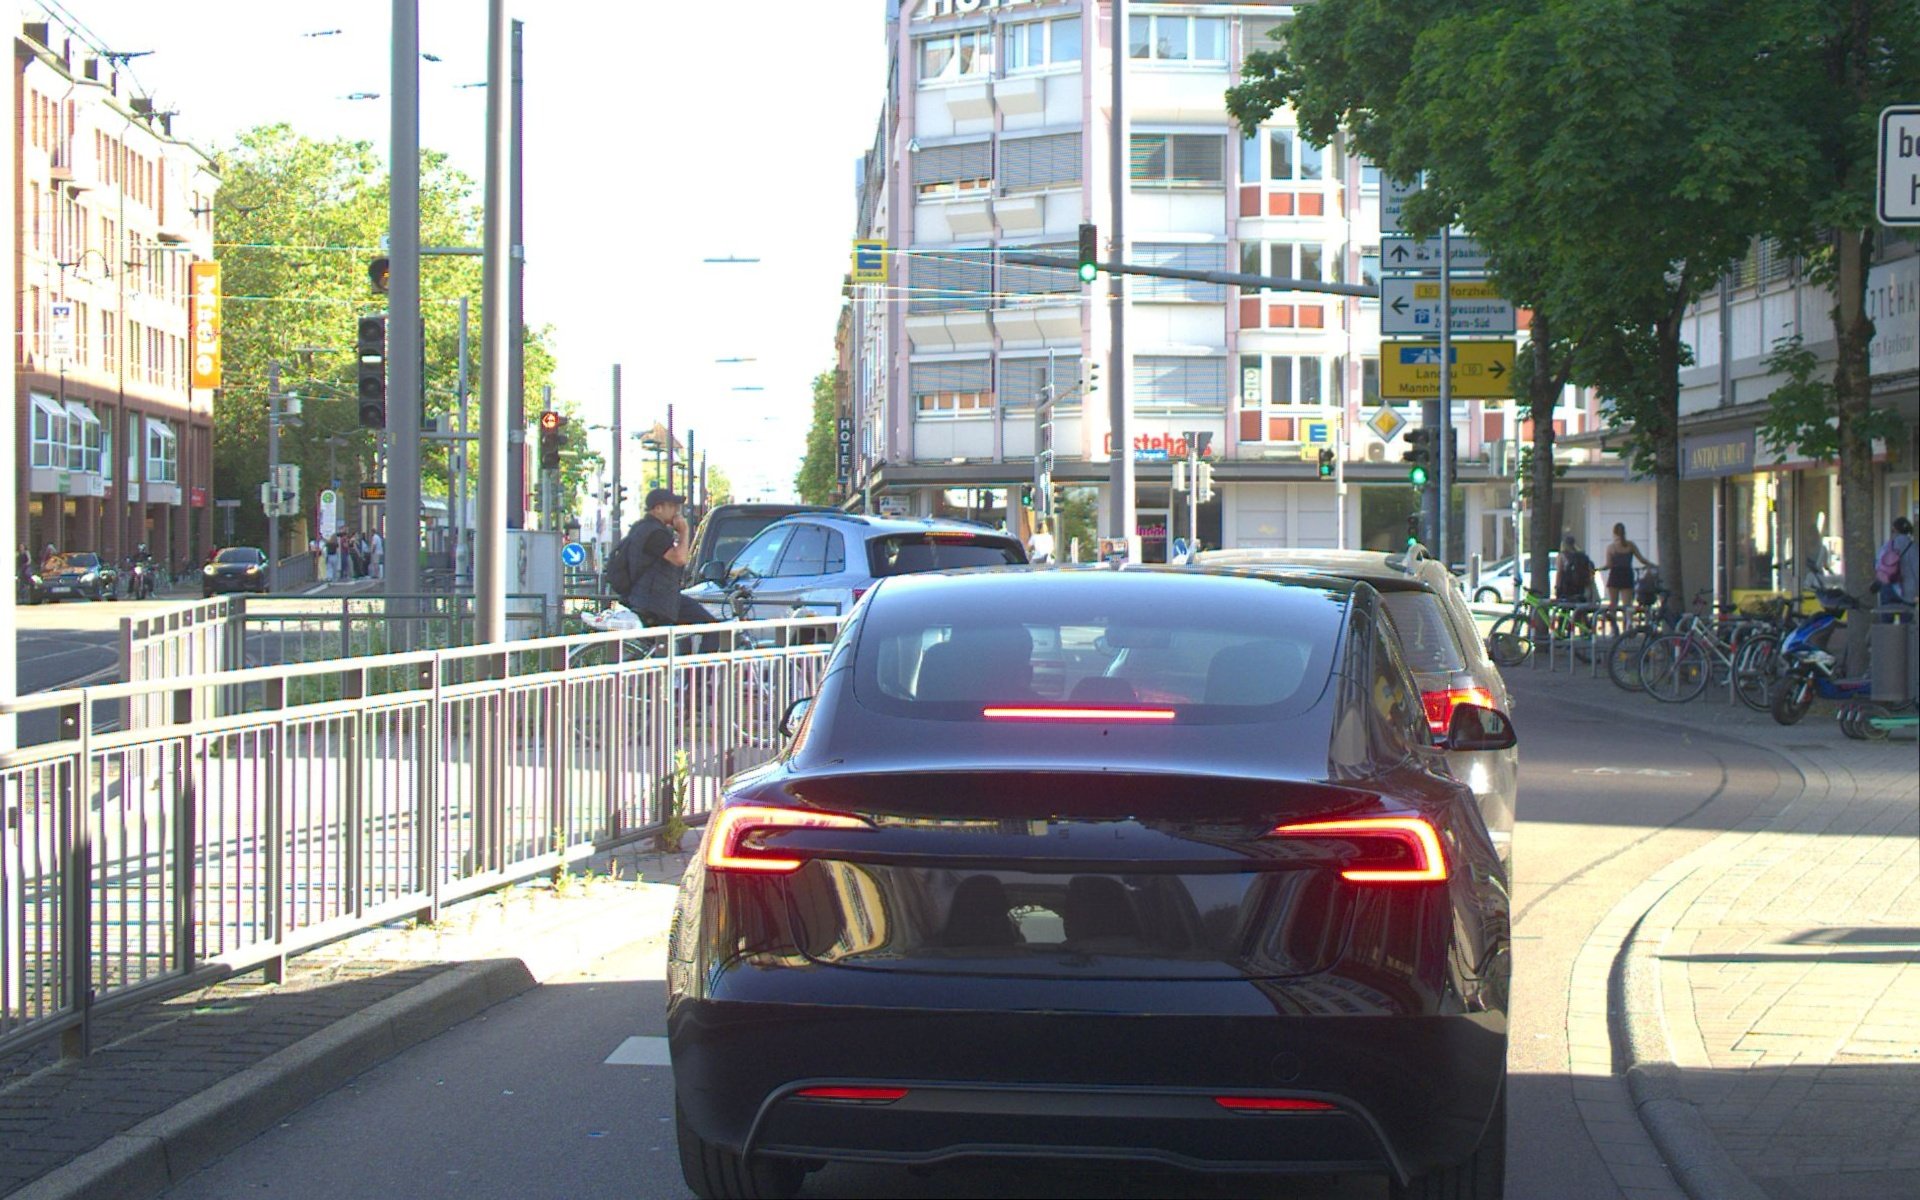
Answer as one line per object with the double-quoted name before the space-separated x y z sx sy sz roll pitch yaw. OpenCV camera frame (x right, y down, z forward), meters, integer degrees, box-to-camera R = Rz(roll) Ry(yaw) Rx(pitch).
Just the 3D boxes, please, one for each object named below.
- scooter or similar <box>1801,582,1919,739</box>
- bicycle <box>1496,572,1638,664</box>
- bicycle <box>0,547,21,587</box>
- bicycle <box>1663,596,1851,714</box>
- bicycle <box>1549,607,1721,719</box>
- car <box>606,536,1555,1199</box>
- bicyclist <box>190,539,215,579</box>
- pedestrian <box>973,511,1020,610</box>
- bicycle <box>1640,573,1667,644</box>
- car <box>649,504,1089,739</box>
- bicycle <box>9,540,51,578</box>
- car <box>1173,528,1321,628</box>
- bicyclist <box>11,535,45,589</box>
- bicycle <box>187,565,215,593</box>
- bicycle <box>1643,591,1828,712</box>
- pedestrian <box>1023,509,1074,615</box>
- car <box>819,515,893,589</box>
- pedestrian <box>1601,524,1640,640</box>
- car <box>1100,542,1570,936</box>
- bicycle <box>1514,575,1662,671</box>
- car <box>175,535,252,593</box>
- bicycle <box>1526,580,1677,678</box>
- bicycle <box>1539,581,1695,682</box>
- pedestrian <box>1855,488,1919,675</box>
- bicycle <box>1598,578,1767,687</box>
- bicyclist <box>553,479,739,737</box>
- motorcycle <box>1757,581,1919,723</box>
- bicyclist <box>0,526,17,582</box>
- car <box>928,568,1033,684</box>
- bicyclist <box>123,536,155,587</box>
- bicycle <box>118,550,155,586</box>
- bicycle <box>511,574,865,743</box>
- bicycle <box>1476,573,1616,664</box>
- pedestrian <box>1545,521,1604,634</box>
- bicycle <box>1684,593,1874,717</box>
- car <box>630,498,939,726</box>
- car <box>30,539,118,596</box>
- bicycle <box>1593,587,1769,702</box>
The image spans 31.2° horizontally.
"scooter or similar" 7.557 0.474 27.175 1.644 1.211 0.644 1 0 30
"bicycle" 7.301 0.213 41.372 1.650 1.095 0.350 0 1 1
"bicycle" -26.785 -0.919 95.812 0.529 1.085 2.284 2 0 1
"bicycle" 7.287 0.506 31.435 1.649 1.057 0.350 1 0 -10
"bicycle" 6.723 0.628 34.257 1.649 1.095 0.350 1 0 -10
"car" 0.377 0.594 8.683 1.829 1.450 3.999 1 1 4
"bicyclist" -29.542 -1.603 134.125 0.784 1.558 0.746 1 0 2
"pedestrian" 0.749 -0.817 70.749 0.921 2.007 0.972 1 0 -1
"bicycle" 10.267 0.121 50.881 0.332 1.030 1.256 1 0 9
"car" -0.798 0.131 26.537 1.883 1.656 4.159 1 1 -25
"bicycle" -26.944 -1.175 99.660 0.529 1.085 2.284 1 1 1
"car" 4.867 -0.375 57.946 1.822 1.609 3.824 1 1 15
"bicyclist" -26.875 -1.099 99.130 0.784 1.558 0.746 0 1 2
"bicycle" -29.567 -0.829 134.012 0.529 1.085 2.224 1 1 1
"bicycle" 7.182 0.478 31.858 1.649 1.095 0.350 1 0 -10
"pedestrian" 1.699 -0.727 66.264 0.921 2.007 0.972 1 0 -1
"car" -2.510 -1.175 83.937 1.719 1.745 3.754 1 1 -1
"pedestrian" 9.852 -0.268 51.241 0.526 1.704 0.403 1 0 14
"car" 1.620 0.489 15.020 1.751 1.449 3.999 1 1 6
"bicycle" 7.364 0.270 40.326 1.650 1.095 0.350 1 0 1
"car" -23.002 -1.103 106.052 1.697 1.725 3.707 1 1 -3
"bicycle" 7.331 0.331 39.313 1.650 1.095 0.350 1 0 1
"bicycle" 7.311 0.344 38.286 1.650 1.095 0.350 1 0 1
"pedestrian" 10.170 -0.202 37.463 0.662 2.007 0.579 1 0 2
"bicycle" 7.420 0.331 35.333 1.650 1.095 0.350 1 0 1
"bicyclist" -2.030 0.043 22.202 0.758 1.623 0.978 0 1 -39
"motorcycle" 7.714 0.445 29.249 1.707 1.169 0.541 1 0 -2
"bicyclist" -26.803 -1.290 95.860 0.784 1.558 0.746 0 1 2
"car" 0.306 0.386 55.496 1.598 1.772 3.981 1 1 -1
"bicyclist" -25.004 -1.177 104.683 0.785 1.522 0.589 1 0 4
"bicycle" -25.068 -0.972 104.630 0.459 1.089 2.201 1 1 4
"bicycle" -1.751 0.369 22.439 2.329 1.050 0.631 0 1 -38
"bicycle" 7.233 0.222 42.466 1.650 1.095 0.350 1 0 1
"pedestrian" 9.134 -0.333 51.101 0.699 1.656 0.777 1 0 -1
"bicycle" 7.384 0.498 31.013 1.649 1.095 0.350 1 0 -10
"car" -1.732 0.080 32.504 1.993 2.007 4.001 0 1 -17
"car" -24.458 -0.910 95.003 1.710 1.521 4.037 1 1 -5
"bicycle" 7.001 0.435 33.386 1.649 1.095 0.350 1 0 -10
